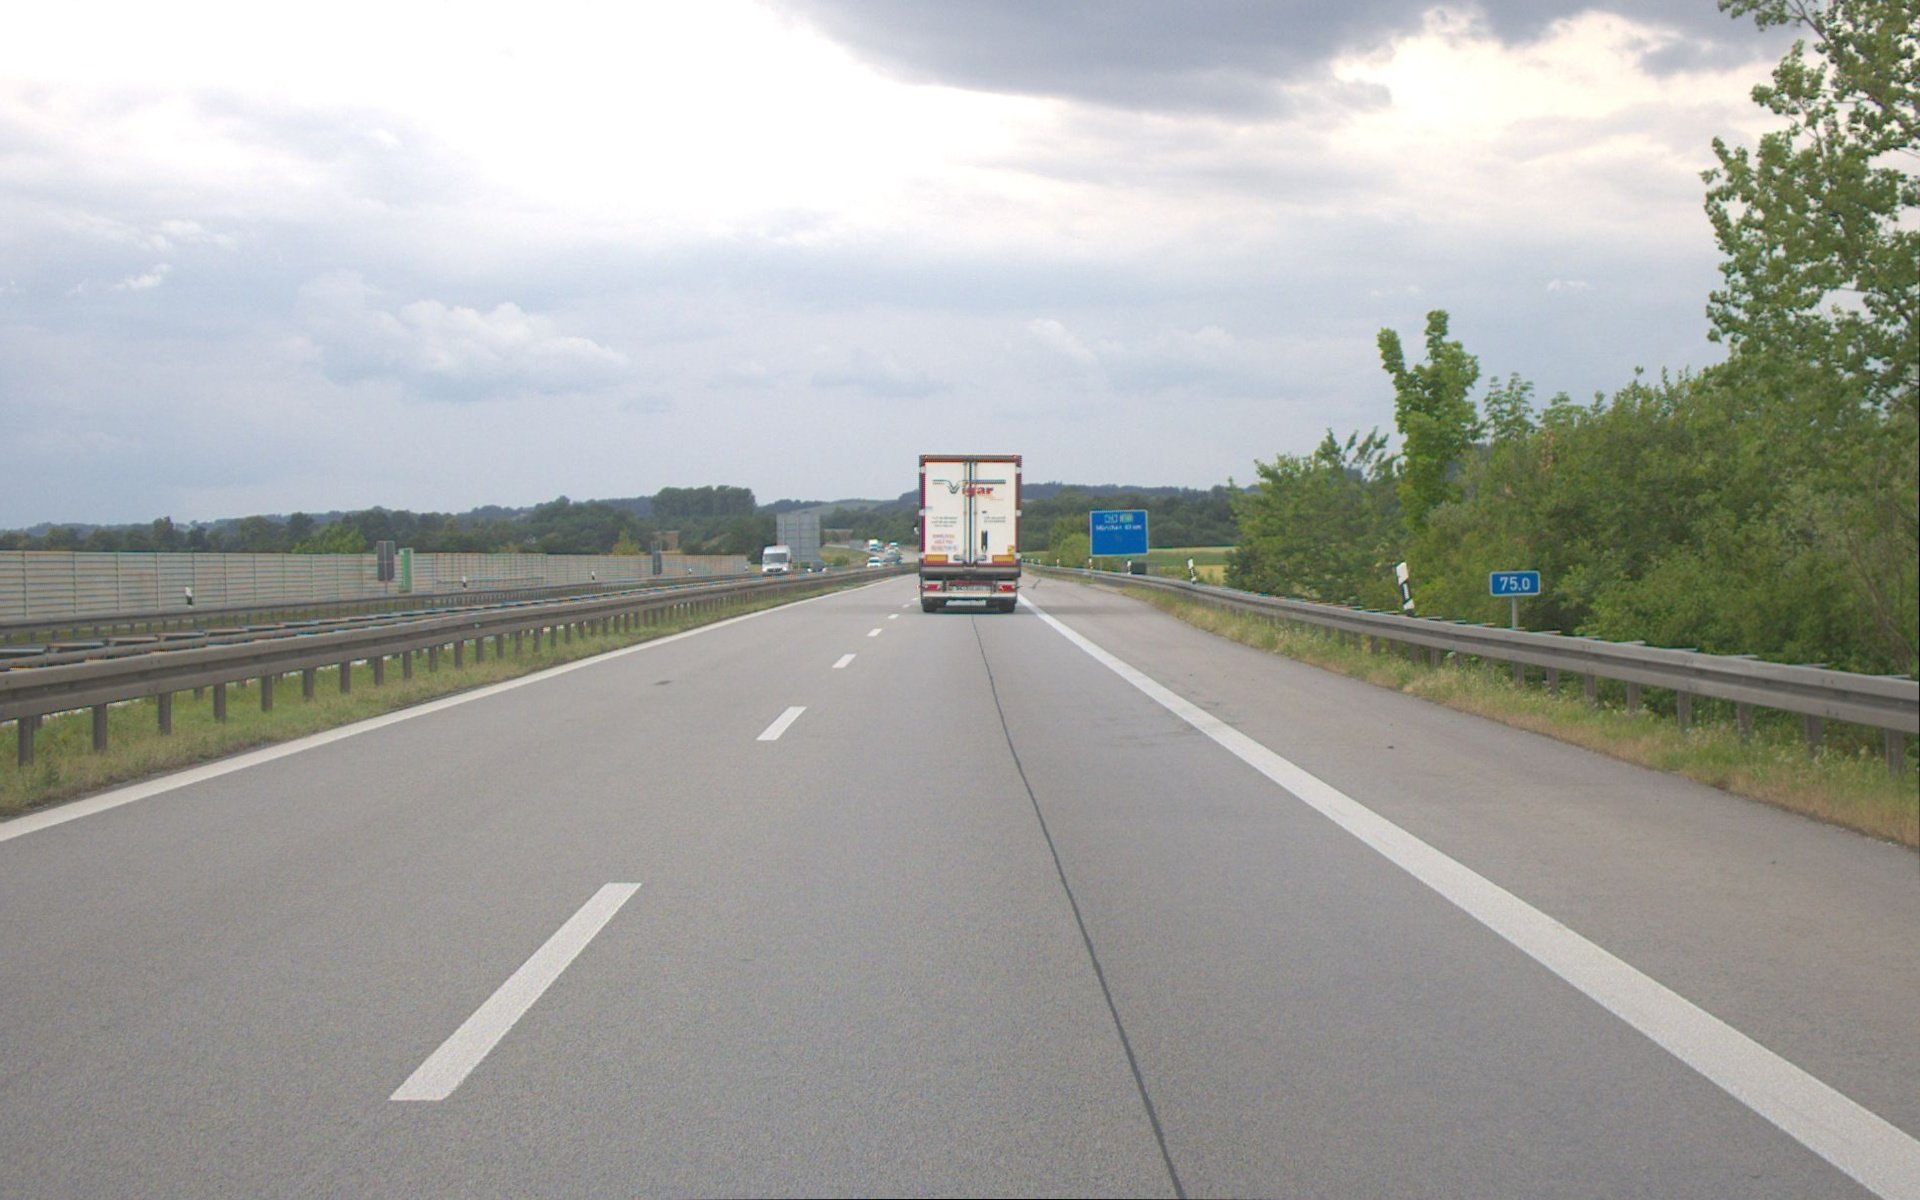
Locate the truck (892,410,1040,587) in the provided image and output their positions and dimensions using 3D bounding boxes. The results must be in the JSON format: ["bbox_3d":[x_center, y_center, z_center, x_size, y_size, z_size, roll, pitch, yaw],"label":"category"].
[{"bbox_3d":[0.059,-2.705,94.631,3.672,4.397,16.342,-1,1,-1],"label":"truck"}]
